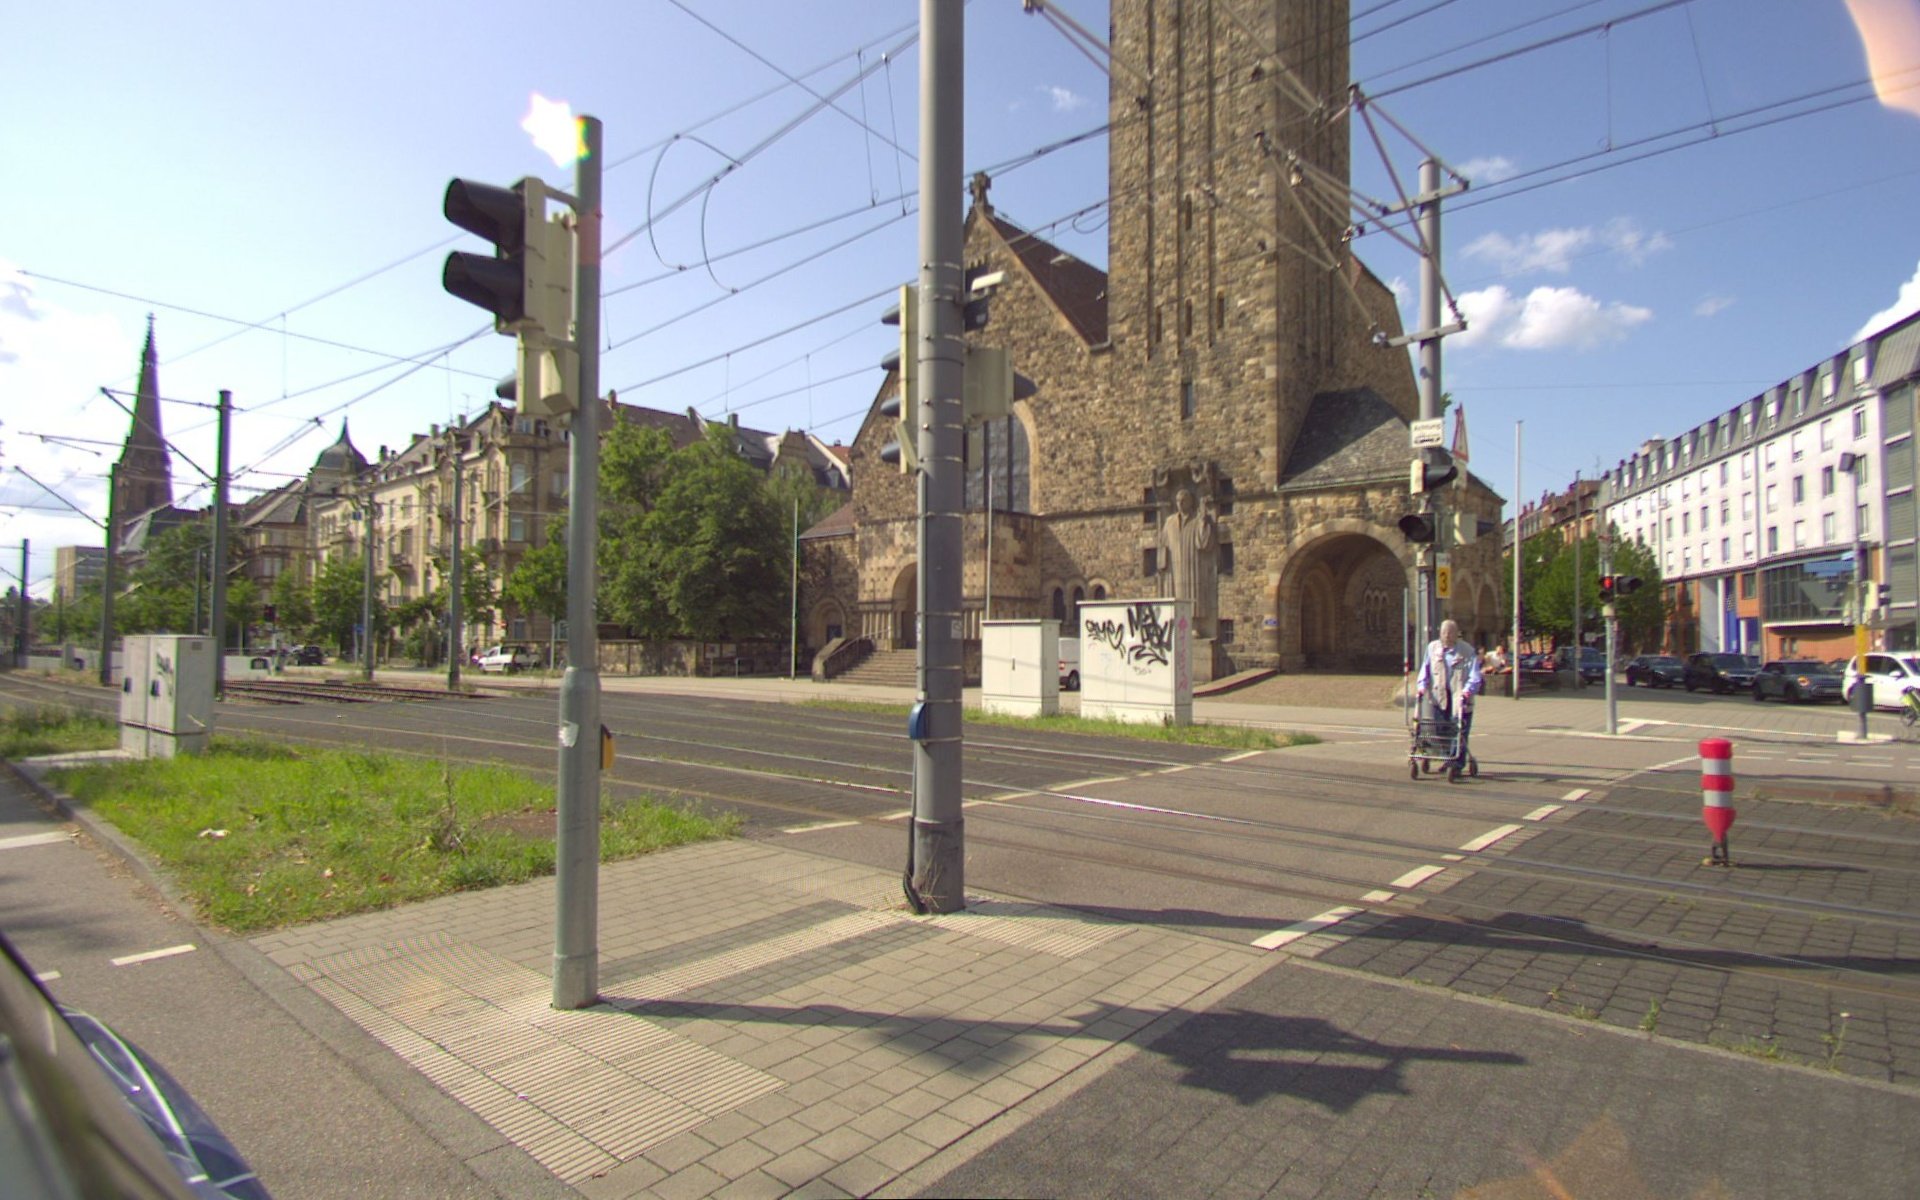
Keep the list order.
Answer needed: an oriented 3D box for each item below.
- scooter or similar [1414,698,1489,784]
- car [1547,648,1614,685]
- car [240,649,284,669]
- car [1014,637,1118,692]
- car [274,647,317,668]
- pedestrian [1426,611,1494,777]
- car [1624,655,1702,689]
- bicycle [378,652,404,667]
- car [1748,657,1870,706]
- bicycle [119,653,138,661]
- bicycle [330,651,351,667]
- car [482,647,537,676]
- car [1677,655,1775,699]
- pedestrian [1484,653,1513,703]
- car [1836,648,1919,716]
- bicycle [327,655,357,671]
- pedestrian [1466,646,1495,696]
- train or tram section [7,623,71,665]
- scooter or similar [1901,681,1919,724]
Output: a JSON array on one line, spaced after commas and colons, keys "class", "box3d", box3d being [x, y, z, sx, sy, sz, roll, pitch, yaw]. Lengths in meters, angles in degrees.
[{"class": "scooter or similar", "box3d": [5.200, 1.467, 10.696, 0.553, 0.810, 0.830, -2, -4, 38]}, {"class": "car", "box3d": [30.328, 3.217, 49.585, 1.800, 1.677, 4.050, -1, -2, 17]}, {"class": "car", "box3d": [-57.982, 4.853, 84.036, 4.484, 1.538, 1.780, -2, -2, 39]}, {"class": "car", "box3d": [3.857, 2.305, 36.471, 1.862, 1.838, 3.962, -1, -3, 39]}, {"class": "car", "box3d": [-50.685, 4.390, 77.185, 4.708, 1.514, 1.667, -2, -3, 43]}, {"class": "pedestrian", "box3d": [5.463, 1.009, 11.052, 0.556, 1.746, 0.521, -2, -4, 37]}, {"class": "car", "box3d": [31.812, 3.237, 45.901, 1.688, 1.401, 3.841, 0, -3, 16]}, {"class": "bicycle", "box3d": [-43.544, 4.534, 77.510, 0.470, 1.077, 1.690, -2, -1, 36]}, {"class": "car", "box3d": [27.949, 2.640, 33.461, 1.660, 1.462, 3.716, 0, -3, 16]}, {"class": "bicycle", "box3d": [-104.653, 7.145, 127.325, 0.603, 0.909, 1.798, -2, -1, 39]}, {"class": "bicycle", "box3d": [-49.309, 4.678, 80.572, 2.942, 1.258, 0.650, -3, -1, 43]}, {"class": "car", "box3d": [-23.654, 3.205, 53.075, 1.647, 1.427, 3.851, 5, -5, -39]}, {"class": "car", "box3d": [30.324, 3.009, 40.184, 1.688, 1.609, 4.050, 0, -3, 16]}, {"class": "pedestrian", "box3d": [16.070, 2.318, 30.196, 0.550, 1.417, 0.518, -1, 3, -5]}, {"class": "car", "box3d": [26.307, 2.205, 27.582, 1.798, 1.753, 4.639, 0, -3, 16]}, {"class": "bicycle", "box3d": [-43.627, 4.450, 71.437, 0.470, 1.077, 1.690, -2, -4, 36]}, {"class": "pedestrian", "box3d": [15.508, 2.123, 30.142, 0.550, 1.417, 0.518, -1, 3, -5]}, {"class": "train or tram section", "box3d": [-84.703, 4.063, 92.942, 12.830, 3.607, 2.823, -2, -4, 42]}, {"class": "scooter or similar", "box3d": [22.841, 2.416, 23.568, 0.881, 0.984, 1.126, 0, -3, 13]}]
